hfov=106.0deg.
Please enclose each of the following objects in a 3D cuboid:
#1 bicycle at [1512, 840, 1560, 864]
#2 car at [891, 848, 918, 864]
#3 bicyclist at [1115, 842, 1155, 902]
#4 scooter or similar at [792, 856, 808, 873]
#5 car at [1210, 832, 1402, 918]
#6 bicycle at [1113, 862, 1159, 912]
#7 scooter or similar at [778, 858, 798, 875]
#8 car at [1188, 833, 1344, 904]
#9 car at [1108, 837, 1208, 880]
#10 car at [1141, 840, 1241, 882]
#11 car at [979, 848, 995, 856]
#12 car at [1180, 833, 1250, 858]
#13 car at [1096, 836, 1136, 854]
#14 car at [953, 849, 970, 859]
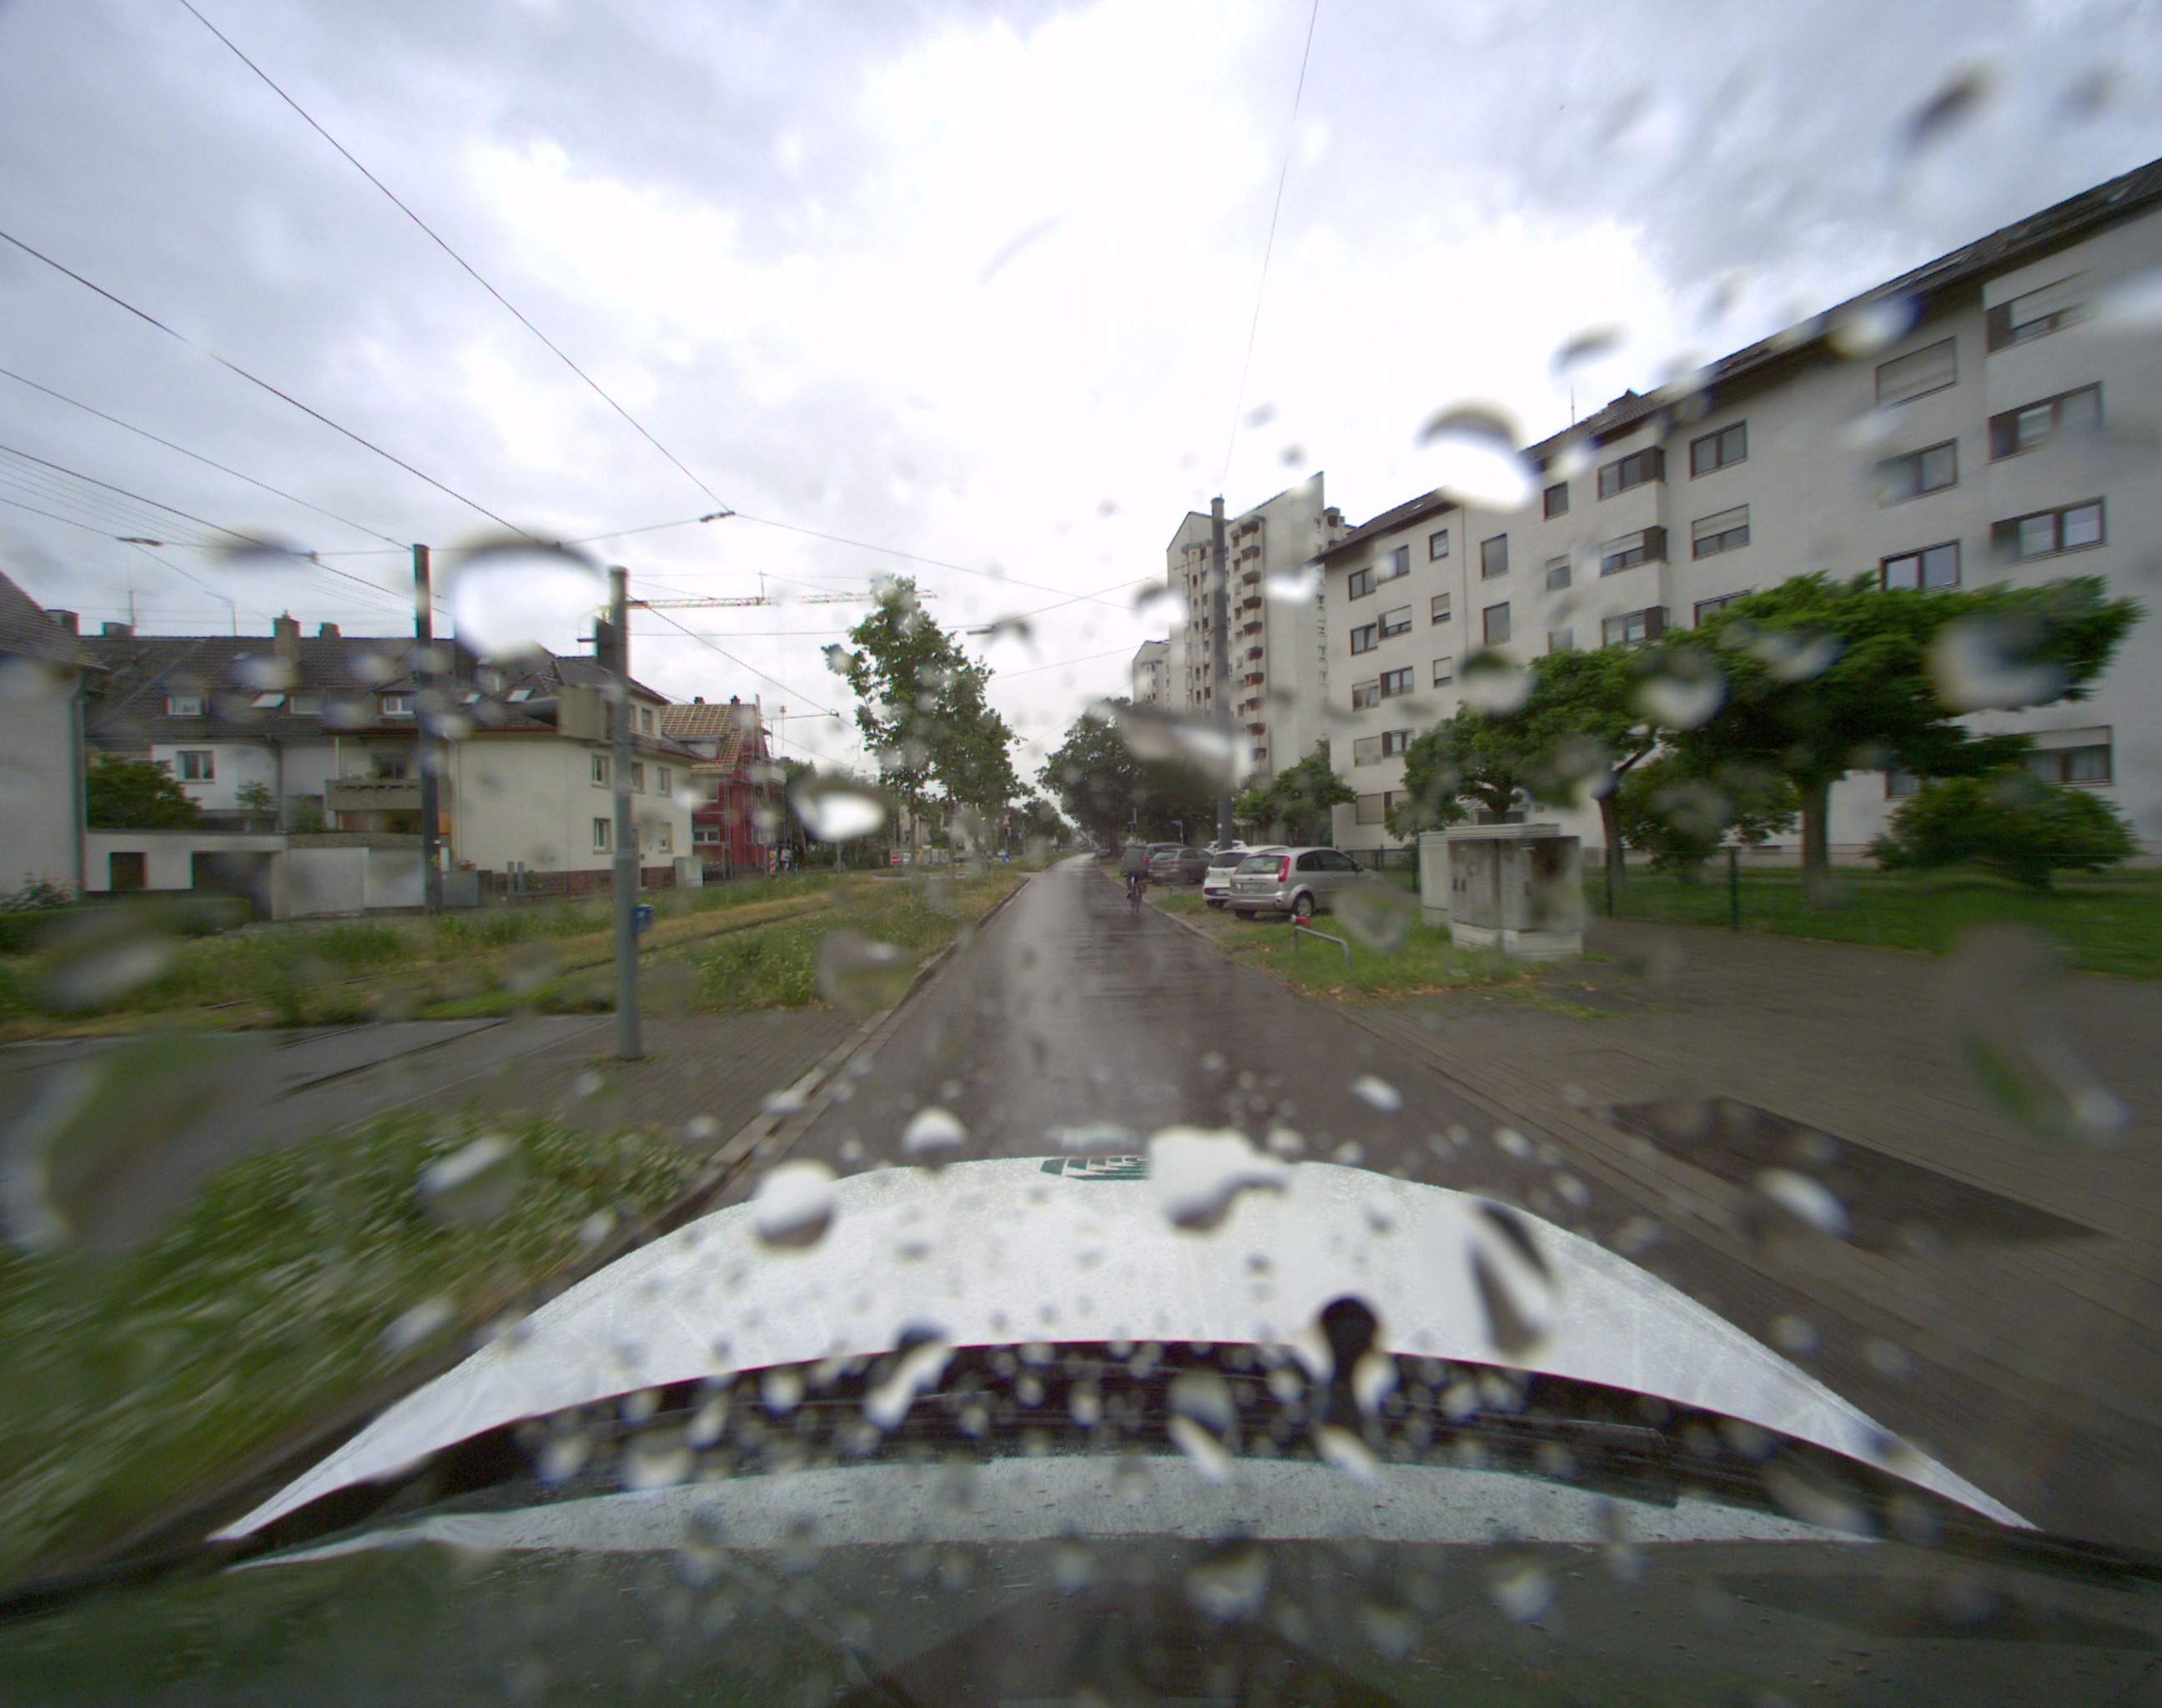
[{"bbox_3d":[17.168,-0.078,30.759,0.492,0.847,1.558,-3,1,-26],"label":"bicycle"},{"bbox_3d":[-18.351,0.194,84.969,1.704,1.542,4.424,0,1,2],"label":"car"},{"bbox_3d":[1.329,0.434,20.297,0.808,1.432,1.059,-2,1,-3],"label":"bicyclist"},{"bbox_3d":[-20.273,0.777,58.739,0.391,1.180,1.288,-2,0,15],"label":"scooter or similar"},{"bbox_3d":[4.814,0.407,17.235,4.019,1.508,1.764,-3,-1,-37],"label":"car"},{"bbox_3d":[1.343,0.788,20.381,0.808,1.096,2.514,-2,1,-3],"label":"bicycle"},{"bbox_3d":[-20.040,0.852,55.643,0.436,1.129,1.291,-2,0,30],"label":"scooter or similar"},{"bbox_3d":[4.742,0.336,20.581,4.021,1.508,1.685,-3,-1,-40],"label":"car"},{"bbox_3d":[3.419,0.153,35.517,4.374,1.651,1.835,-3,1,-42],"label":"car"},{"bbox_3d":[4.402,0.252,32.326,4.022,1.428,1.714,-3,1,-42],"label":"car"},{"bbox_3d":[-16.179,-0.390,140.005,1.888,1.244,4.692,0,1,4],"label":"car"},{"bbox_3d":[10.160,-0.658,61.646,4.812,1.745,1.990,-2,1,-16],"label":"car"},{"bbox_3d":[4.084,-1.007,94.066,4.163,1.719,1.980,-5,2,-32],"label":"car"},{"bbox_3d":[-16.707,-0.013,114.096,1.657,1.244,4.072,0,1,1],"label":"car"}]
